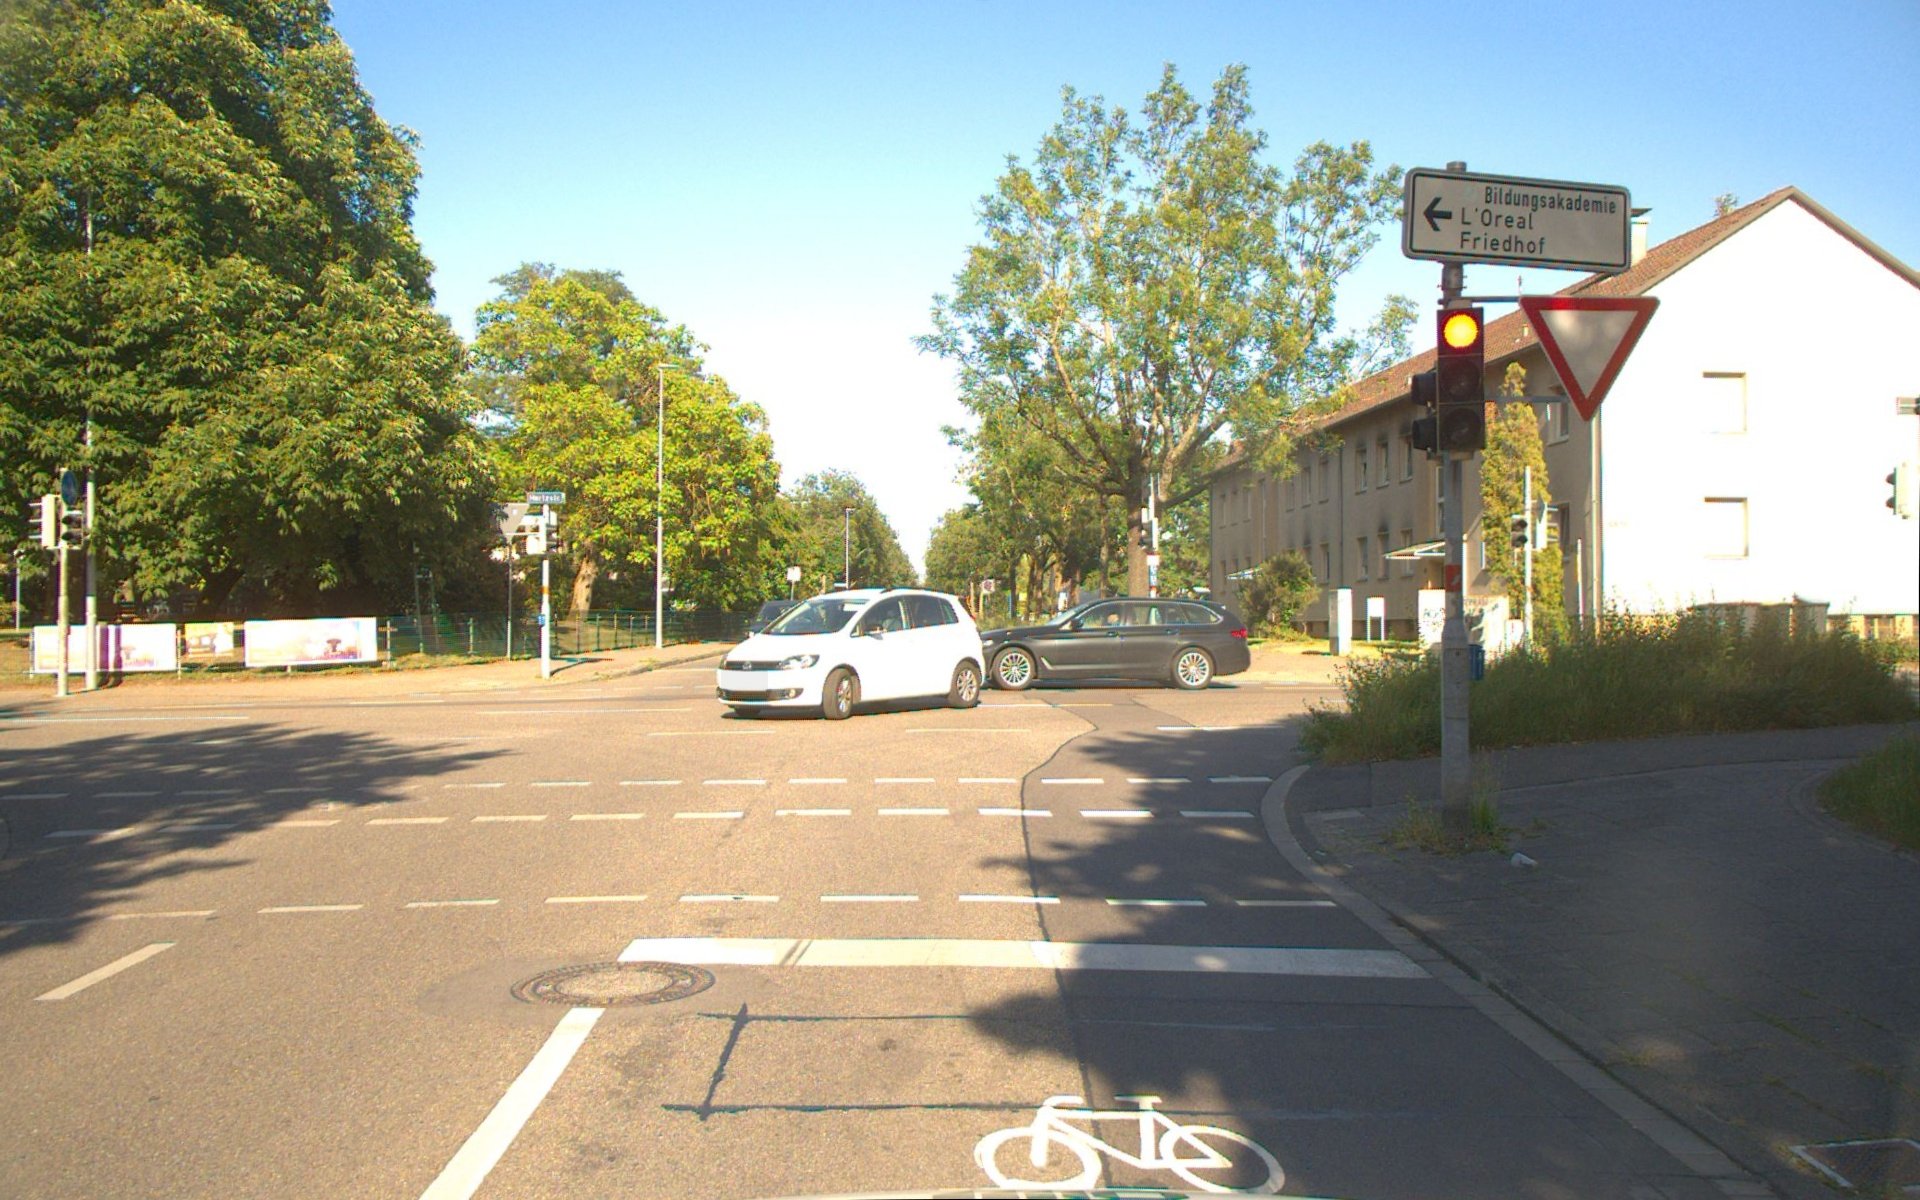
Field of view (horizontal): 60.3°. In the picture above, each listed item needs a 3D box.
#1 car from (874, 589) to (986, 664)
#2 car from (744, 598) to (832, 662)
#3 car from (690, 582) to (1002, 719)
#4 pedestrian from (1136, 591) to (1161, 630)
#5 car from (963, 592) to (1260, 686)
[{"bbox_3d":[-0.749,0.594,38.290,1.722,1.610,3.985,1,0,-14],"label":"car"},{"bbox_3d":[-3.963,0.660,38.555,1.676,1.410,3.471,0,0,0],"label":"car"},{"bbox_3d":[-1.382,0.583,21.421,1.724,1.590,4.101,-1,0,39],"label":"car"},{"bbox_3d":[7.461,0.401,65.431,0.825,1.519,0.924,2,0,-1],"label":"pedestrian"},{"bbox_3d":[2.428,0.615,27.298,4.635,1.455,1.998,0,0,-5],"label":"car"}]
